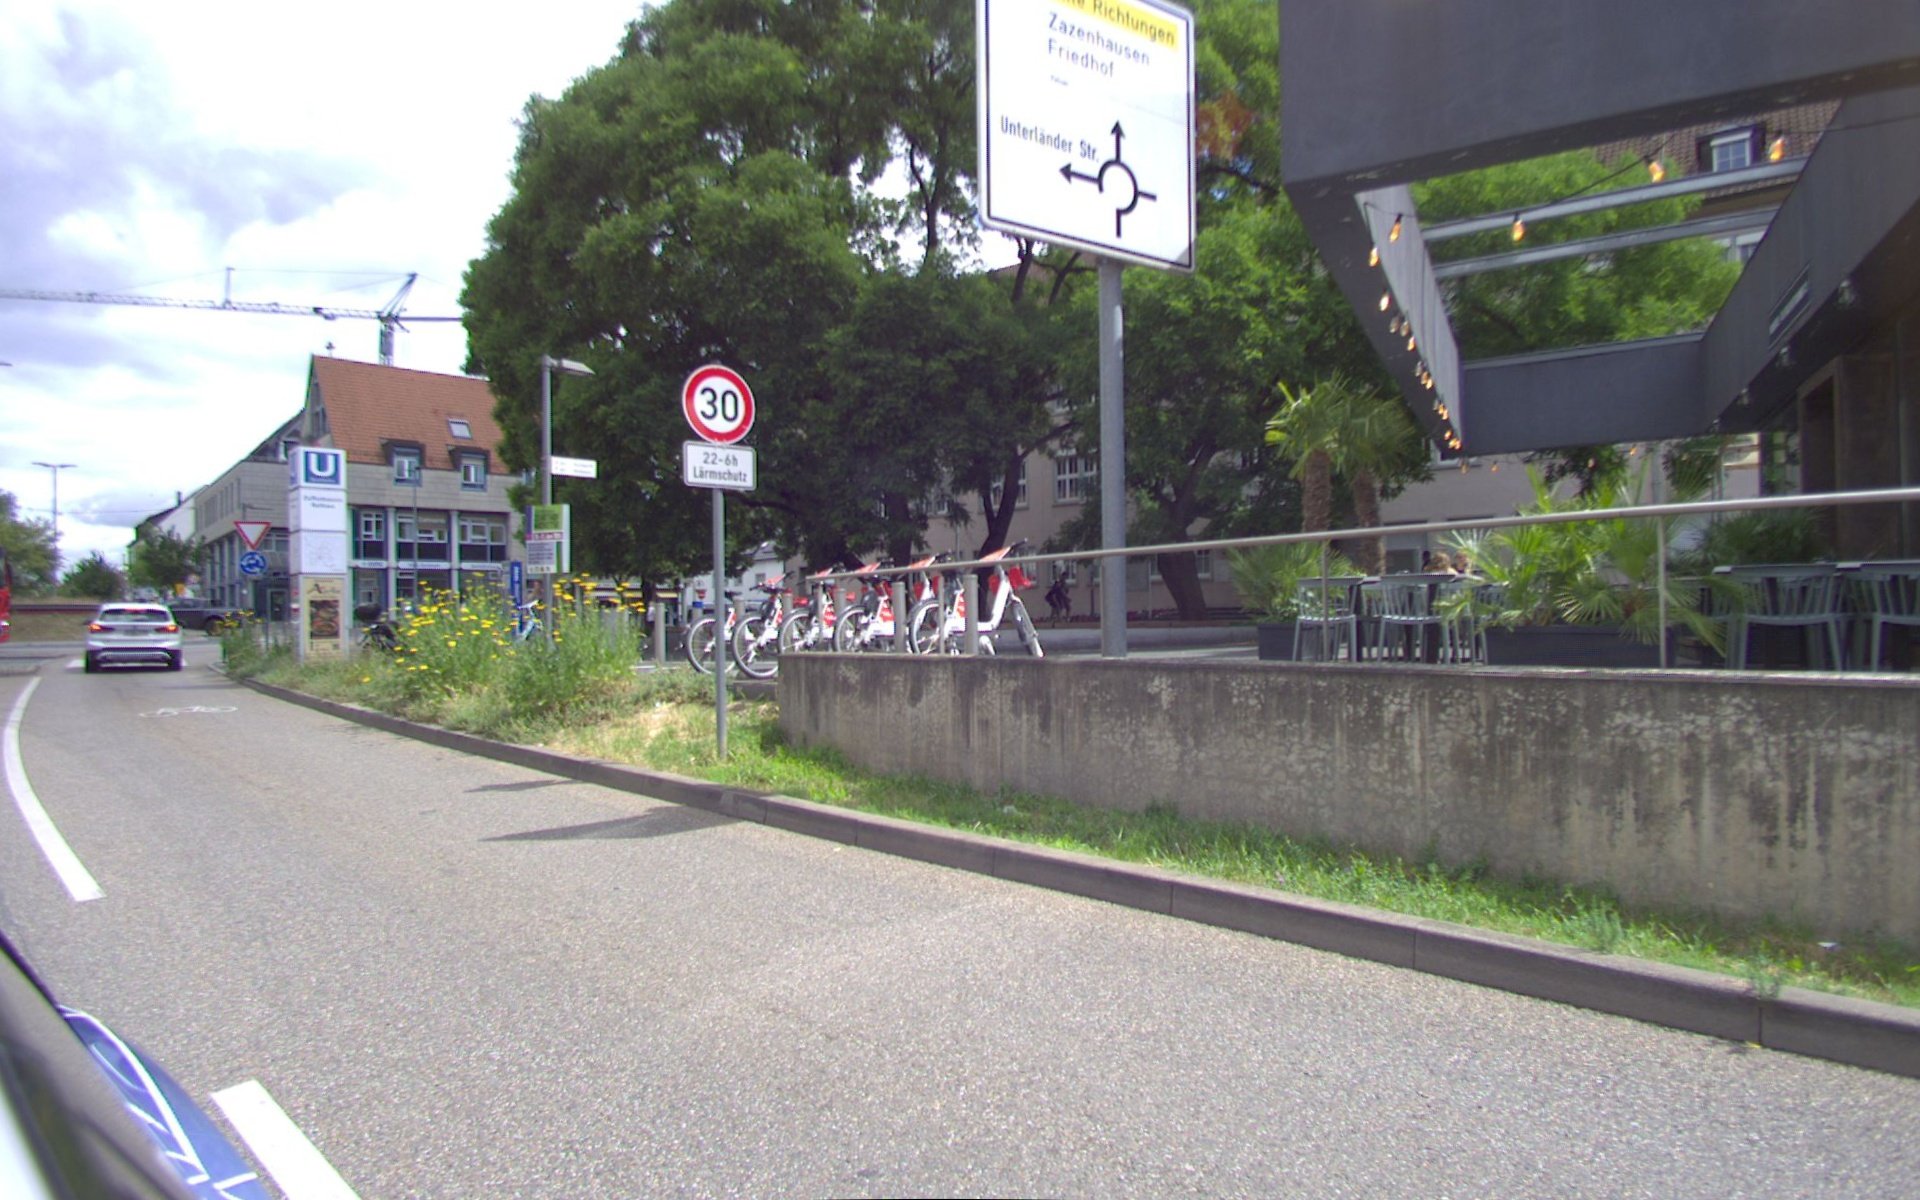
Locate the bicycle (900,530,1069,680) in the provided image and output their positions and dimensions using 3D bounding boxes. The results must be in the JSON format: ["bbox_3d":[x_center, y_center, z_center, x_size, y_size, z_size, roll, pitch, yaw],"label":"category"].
[{"bbox_3d":[0.234,0.050,8.405,0.533,1.136,1.529,-1,-2,43],"label":"bicycle"}]

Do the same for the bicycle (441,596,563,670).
[{"bbox_3d":[-7.082,0.499,15.703,0.514,1.090,1.670,-3,-3,38],"label":"bicycle"}]

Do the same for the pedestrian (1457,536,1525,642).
[{"bbox_3d":[7.209,-0.155,13.741,0.790,1.390,0.792,0,1,30],"label":"pedestrian"}]

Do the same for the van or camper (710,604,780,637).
[{"bbox_3d":[-15.706,1.491,73.963,4.638,2.400,1.988,-1,-1,19],"label":"van or camper"}]

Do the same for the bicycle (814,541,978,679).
[{"bbox_3d":[-0.548,0.096,9.086,0.533,1.136,1.529,-1,-2,43],"label":"bicycle"}]

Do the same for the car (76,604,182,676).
[{"bbox_3d":[-20.076,0.931,24.456,1.800,1.597,4.172,2,-2,-40],"label":"car"}]

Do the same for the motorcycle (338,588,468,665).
[{"bbox_3d":[-11.067,0.515,20.181,0.648,1.460,2.166,1,0,41],"label":"motorcycle"}]

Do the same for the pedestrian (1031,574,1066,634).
[{"bbox_3d":[2.783,0.128,31.997,0.829,1.864,0.652,-3,-2,43],"label":"pedestrian"}]

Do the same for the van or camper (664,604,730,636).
[{"bbox_3d":[-20.467,1.554,78.696,4.638,2.400,1.988,-1,-1,19],"label":"van or camper"}]

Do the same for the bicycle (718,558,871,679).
[{"bbox_3d":[-1.645,0.185,10.222,0.533,1.136,1.529,-1,-2,43],"label":"bicycle"}]

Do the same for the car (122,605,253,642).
[{"bbox_3d":[-37.779,1.118,49.599,4.810,1.666,1.751,0,1,-13],"label":"car"}]

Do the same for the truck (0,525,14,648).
[{"bbox_3d":[-35.516,-0.409,31.218,10.708,3.871,2.680,0,1,4],"label":"truck"}]

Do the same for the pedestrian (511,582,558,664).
[{"bbox_3d":[-8.646,0.465,20.568,0.651,1.641,0.801,-1,-2,-40],"label":"pedestrian"}]

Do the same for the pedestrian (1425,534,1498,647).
[{"bbox_3d":[6.401,-0.125,12.917,0.790,1.390,0.792,0,1,30],"label":"pedestrian"}]

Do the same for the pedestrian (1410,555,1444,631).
[{"bbox_3d":[11.481,-0.178,24.879,0.593,1.821,0.635,1,1,43],"label":"pedestrian"}]

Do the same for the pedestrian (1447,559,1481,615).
[{"bbox_3d":[12.496,-0.322,25.098,0.593,1.348,0.635,1,1,43],"label":"pedestrian"}]

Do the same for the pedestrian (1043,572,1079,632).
[{"bbox_3d":[3.244,0.068,32.570,0.878,1.864,0.652,-3,-2,43],"label":"pedestrian"}]

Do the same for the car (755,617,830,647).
[{"bbox_3d":[-9.738,1.840,58.919,4.011,1.551,1.750,-1,1,-40],"label":"car"}]

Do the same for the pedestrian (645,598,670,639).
[{"bbox_3d":[-12.845,0.780,42.973,0.816,1.688,0.682,-3,-2,40],"label":"pedestrian"}]

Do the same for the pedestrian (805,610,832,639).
[{"bbox_3d":[-5.836,1.009,41.795,0.690,1.184,0.807,-3,-1,38],"label":"pedestrian"}]

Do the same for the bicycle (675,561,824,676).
[{"bbox_3d":[-2.210,0.198,10.751,0.533,1.136,1.529,-1,-2,43],"label":"bicycle"}]

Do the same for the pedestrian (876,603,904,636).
[{"bbox_3d":[-2.707,0.760,39.280,0.690,1.235,0.807,-3,-1,38],"label":"pedestrian"}]

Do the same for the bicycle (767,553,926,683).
[{"bbox_3d":[-1.051,0.170,9.642,0.533,1.136,1.529,-1,-2,43],"label":"bicycle"}]
